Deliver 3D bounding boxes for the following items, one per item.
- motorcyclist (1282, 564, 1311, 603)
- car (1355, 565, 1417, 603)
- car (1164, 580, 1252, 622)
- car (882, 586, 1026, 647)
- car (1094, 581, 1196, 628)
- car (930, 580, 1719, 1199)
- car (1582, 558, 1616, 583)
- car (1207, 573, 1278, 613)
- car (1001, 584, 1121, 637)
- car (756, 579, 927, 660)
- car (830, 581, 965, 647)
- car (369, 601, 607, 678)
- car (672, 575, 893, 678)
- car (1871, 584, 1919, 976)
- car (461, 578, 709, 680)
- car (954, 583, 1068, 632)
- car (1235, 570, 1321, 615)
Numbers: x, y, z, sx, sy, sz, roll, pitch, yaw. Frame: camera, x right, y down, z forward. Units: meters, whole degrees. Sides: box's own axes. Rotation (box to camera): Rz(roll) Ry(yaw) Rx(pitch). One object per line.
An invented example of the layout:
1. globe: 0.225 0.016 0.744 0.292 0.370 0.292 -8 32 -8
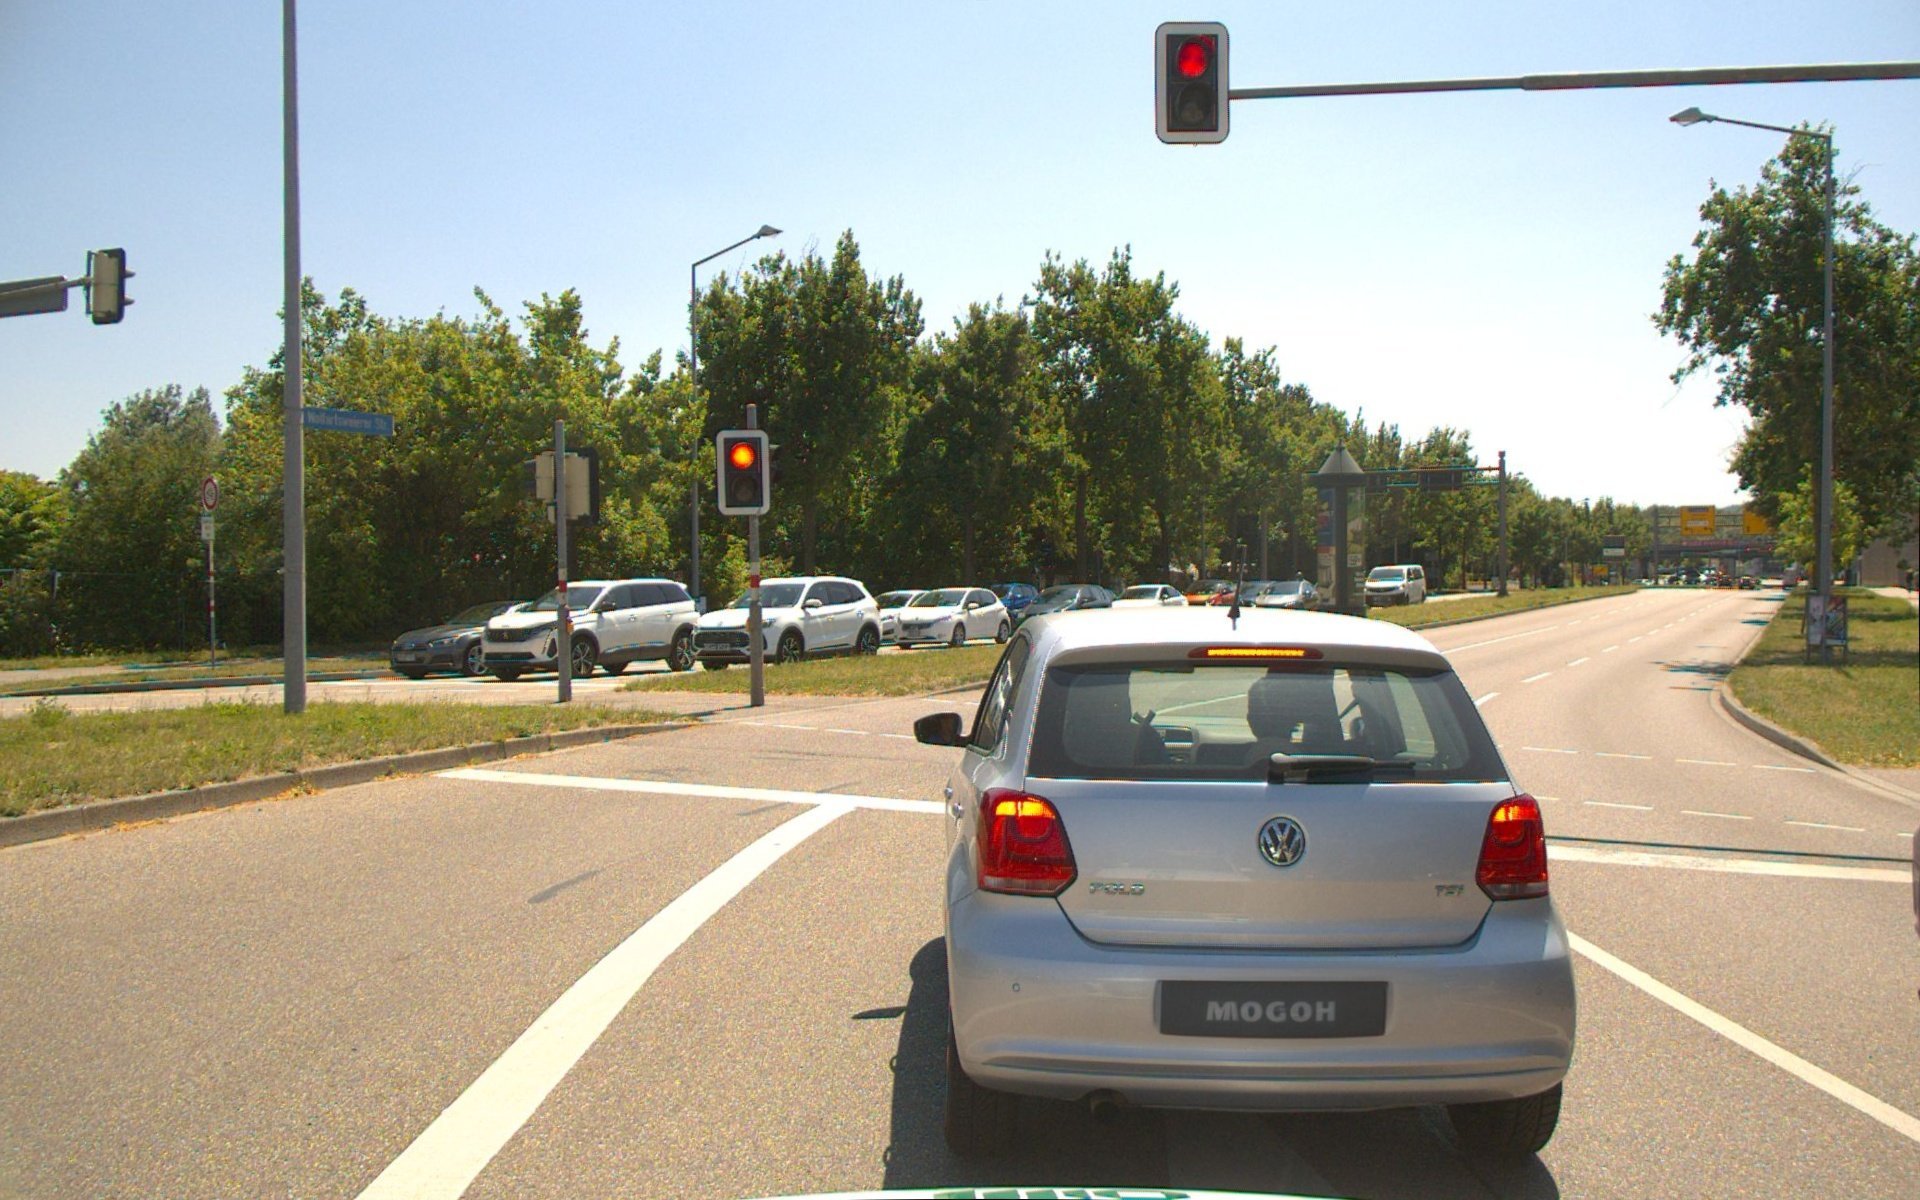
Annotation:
1. motorcyclist: 14.146 -0.704 69.539 0.889 1.614 1.008 -2 -1 30
2. car: 18.595 -0.710 72.112 1.826 1.582 3.996 0 1 26
3. car: 9.043 0.000 60.091 1.823 1.447 4.402 0 1 28
4. car: -0.088 0.378 41.990 1.823 1.447 4.402 0 1 28
5. car: 6.063 0.116 53.709 1.823 1.447 4.402 0 1 28
6. car: 0.818 0.666 5.649 1.740 1.447 4.000 0 1 0
7. car: 45.979 -2.100 118.899 1.766 1.722 4.136 -2 -1 28
8. car: 11.050 -0.267 64.466 1.682 1.500 3.793 -2 -1 27
9. car: 2.976 0.266 47.810 1.823 1.447 4.402 0 1 28
10. car: -2.619 0.385 37.637 1.823 1.712 4.402 0 1 28
11. car: -1.682 0.347 46.127 1.823 1.712 4.402 0 1 28
12. car: -8.862 0.701 31.425 1.823 1.292 4.402 0 1 28
13. car: -3.102 0.407 29.847 1.823 1.712 4.402 0 1 28
14. car: 4.454 0.691 4.197 1.952 1.443 4.457 0 1 2
15. car: -6.445 0.438 28.945 1.823 1.646 4.402 0 1 28
16. car: 1.648 0.209 51.751 1.823 1.447 4.402 0 1 28
17. car: 11.121 -0.284 57.679 1.932 1.514 3.995 0 1 27
